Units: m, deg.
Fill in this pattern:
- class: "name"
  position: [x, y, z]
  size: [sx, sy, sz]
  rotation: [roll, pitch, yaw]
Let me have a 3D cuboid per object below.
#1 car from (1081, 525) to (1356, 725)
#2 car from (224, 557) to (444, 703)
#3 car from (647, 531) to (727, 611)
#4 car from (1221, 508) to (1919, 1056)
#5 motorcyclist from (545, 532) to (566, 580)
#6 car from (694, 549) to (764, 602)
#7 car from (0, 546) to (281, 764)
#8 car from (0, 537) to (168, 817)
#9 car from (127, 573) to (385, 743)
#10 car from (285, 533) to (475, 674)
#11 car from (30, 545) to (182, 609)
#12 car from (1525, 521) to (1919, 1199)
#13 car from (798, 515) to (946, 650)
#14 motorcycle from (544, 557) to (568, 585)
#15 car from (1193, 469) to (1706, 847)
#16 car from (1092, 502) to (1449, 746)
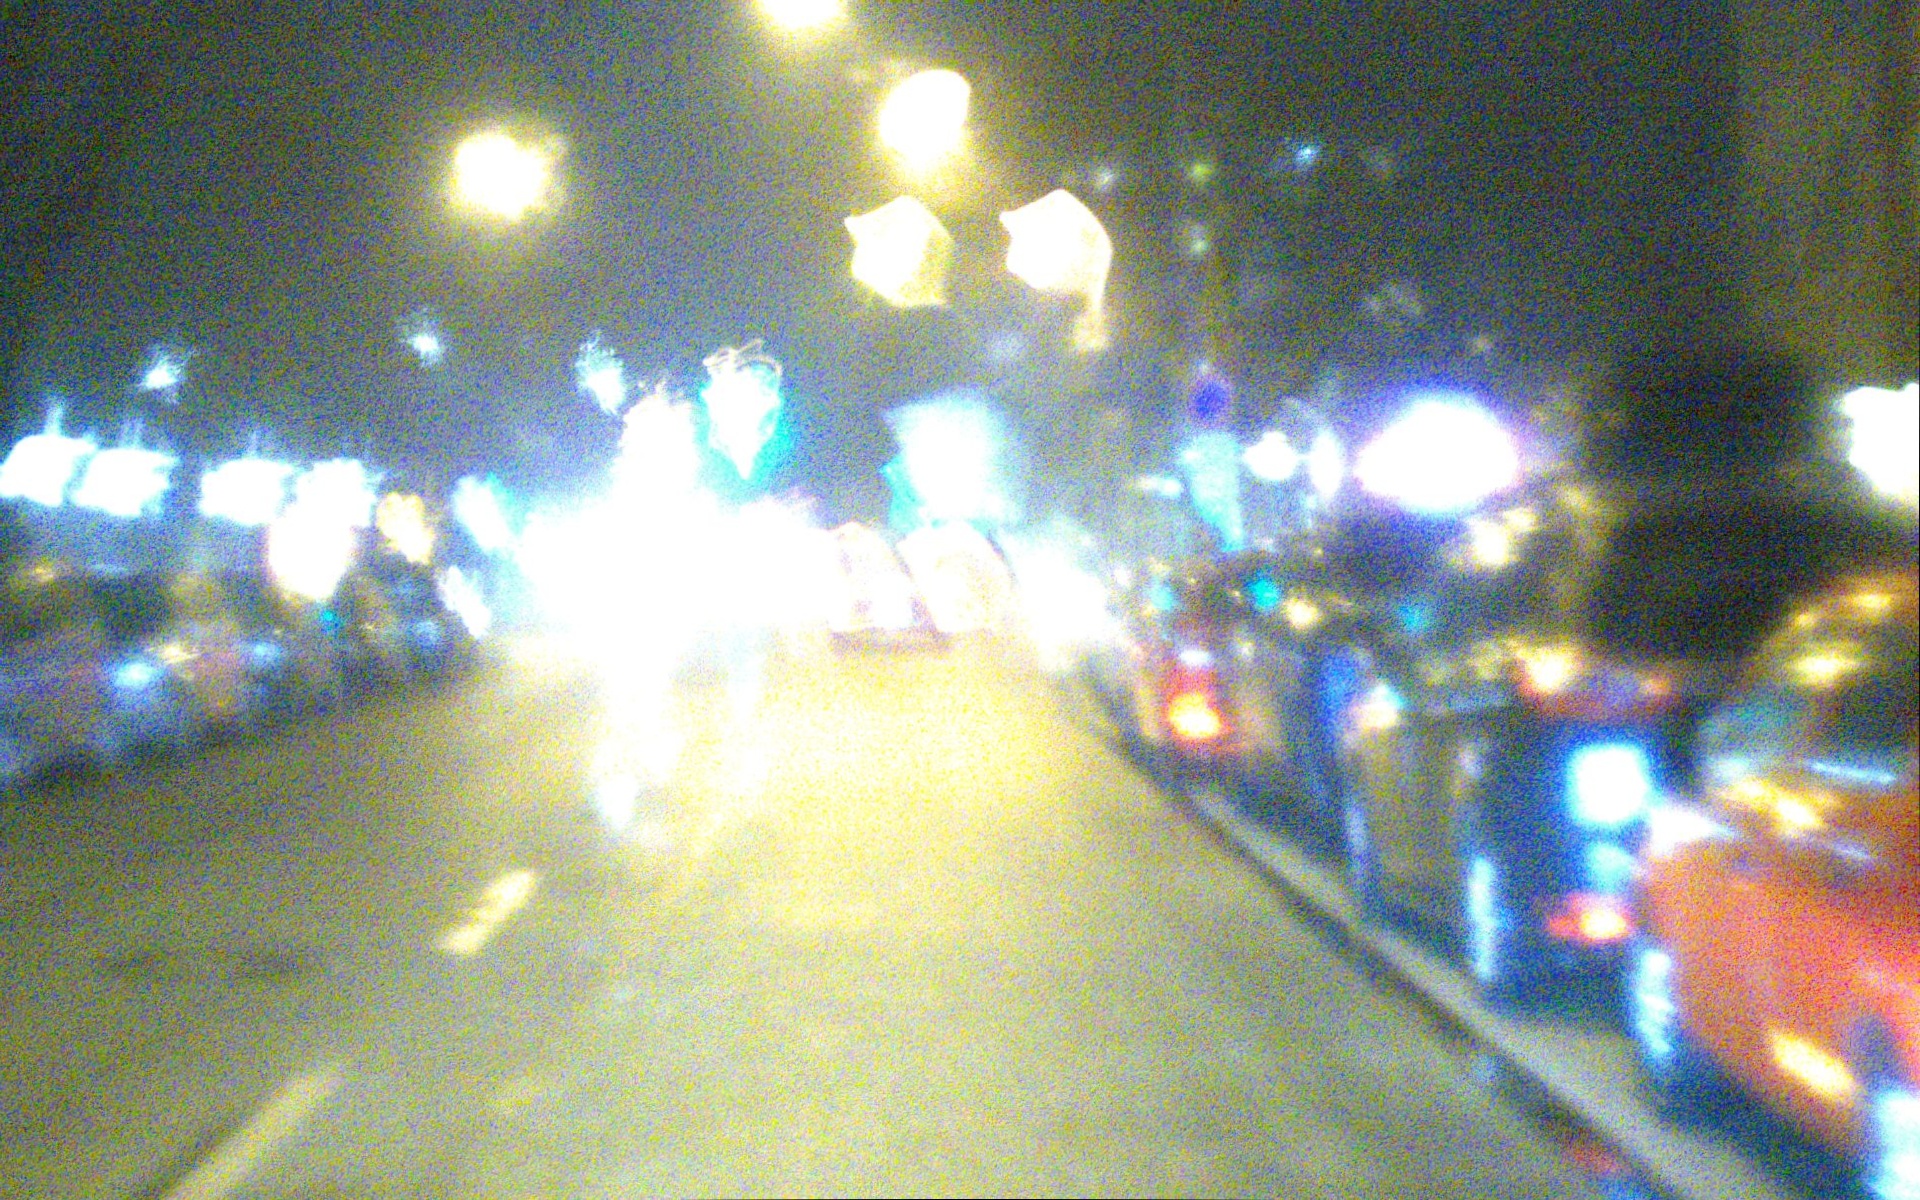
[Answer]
- class: "car"
  position: [2.164, 0.155, 30.080]
  size: [1.822, 1.525, 4.783]
  rotation: [-3, 1, -2]
- class: "car"
  position: [-6.883, 0.288, 38.182]
  size: [1.598, 1.368, 4.354]
  rotation: [-4, 1, -1]
- class: "car"
  position: [-7.594, -0.835, 95.377]
  size: [2.034, 1.946, 5.201]
  rotation: [-4, 2, -5]
- class: "car"
  position: [2.164, 0.480, 12.608]
  size: [1.799, 1.525, 5.052]
  rotation: [-3, 1, -2]
- class: "motorcyclist"
  position: [-17.409, -1.901, 147.924]
  size: [0.693, 2.006, 0.983]
  rotation: [-2, 1, 0]
- class: "car"
  position: [-7.171, -0.775, 106.348]
  size: [1.817, 1.537, 4.727]
  rotation: [-2, 1, -7]
- class: "car"
  position: [-6.632, 0.383, 27.257]
  size: [1.598, 1.481, 4.275]
  rotation: [-4, 1, -1]
- class: "car"
  position: [-6.356, 0.466, 21.850]
  size: [1.598, 1.599, 4.259]
  rotation: [-4, 1, -1]
- class: "car"
  position: [-6.699, 0.508, 33.089]
  size: [1.598, 1.368, 4.067]
  rotation: [-4, 1, -1]
- class: "car"
  position: [-7.248, 0.001, 43.312]
  size: [1.598, 1.558, 4.380]
  rotation: [-4, 1, -1]
- class: "car"
  position: [-20.532, -0.563, 82.805]
  size: [1.715, 1.427, 3.916]
  rotation: [-1, 1, 18]
- class: "car"
  position: [2.535, 0.600, 7.715]
  size: [1.824, 1.542, 4.352]
  rotation: [-3, 1, 1]
- class: "car"
  position: [-1.374, -0.296, 53.511]
  size: [2.168, 1.965, 4.302]
  rotation: [-1, 1, -2]
- class: "motorcycle"
  position: [-17.383, -1.234, 147.967]
  size: [0.701, 1.134, 2.176]
  rotation: [-2, 2, 0]
- class: "car"
  position: [2.383, 0.221, 17.890]
  size: [1.822, 1.632, 4.489]
  rotation: [-3, 1, -2]
- class: "car"
  position: [2.000, 0.104, 23.426]
  size: [1.822, 1.417, 4.489]
  rotation: [-3, 1, -2]
